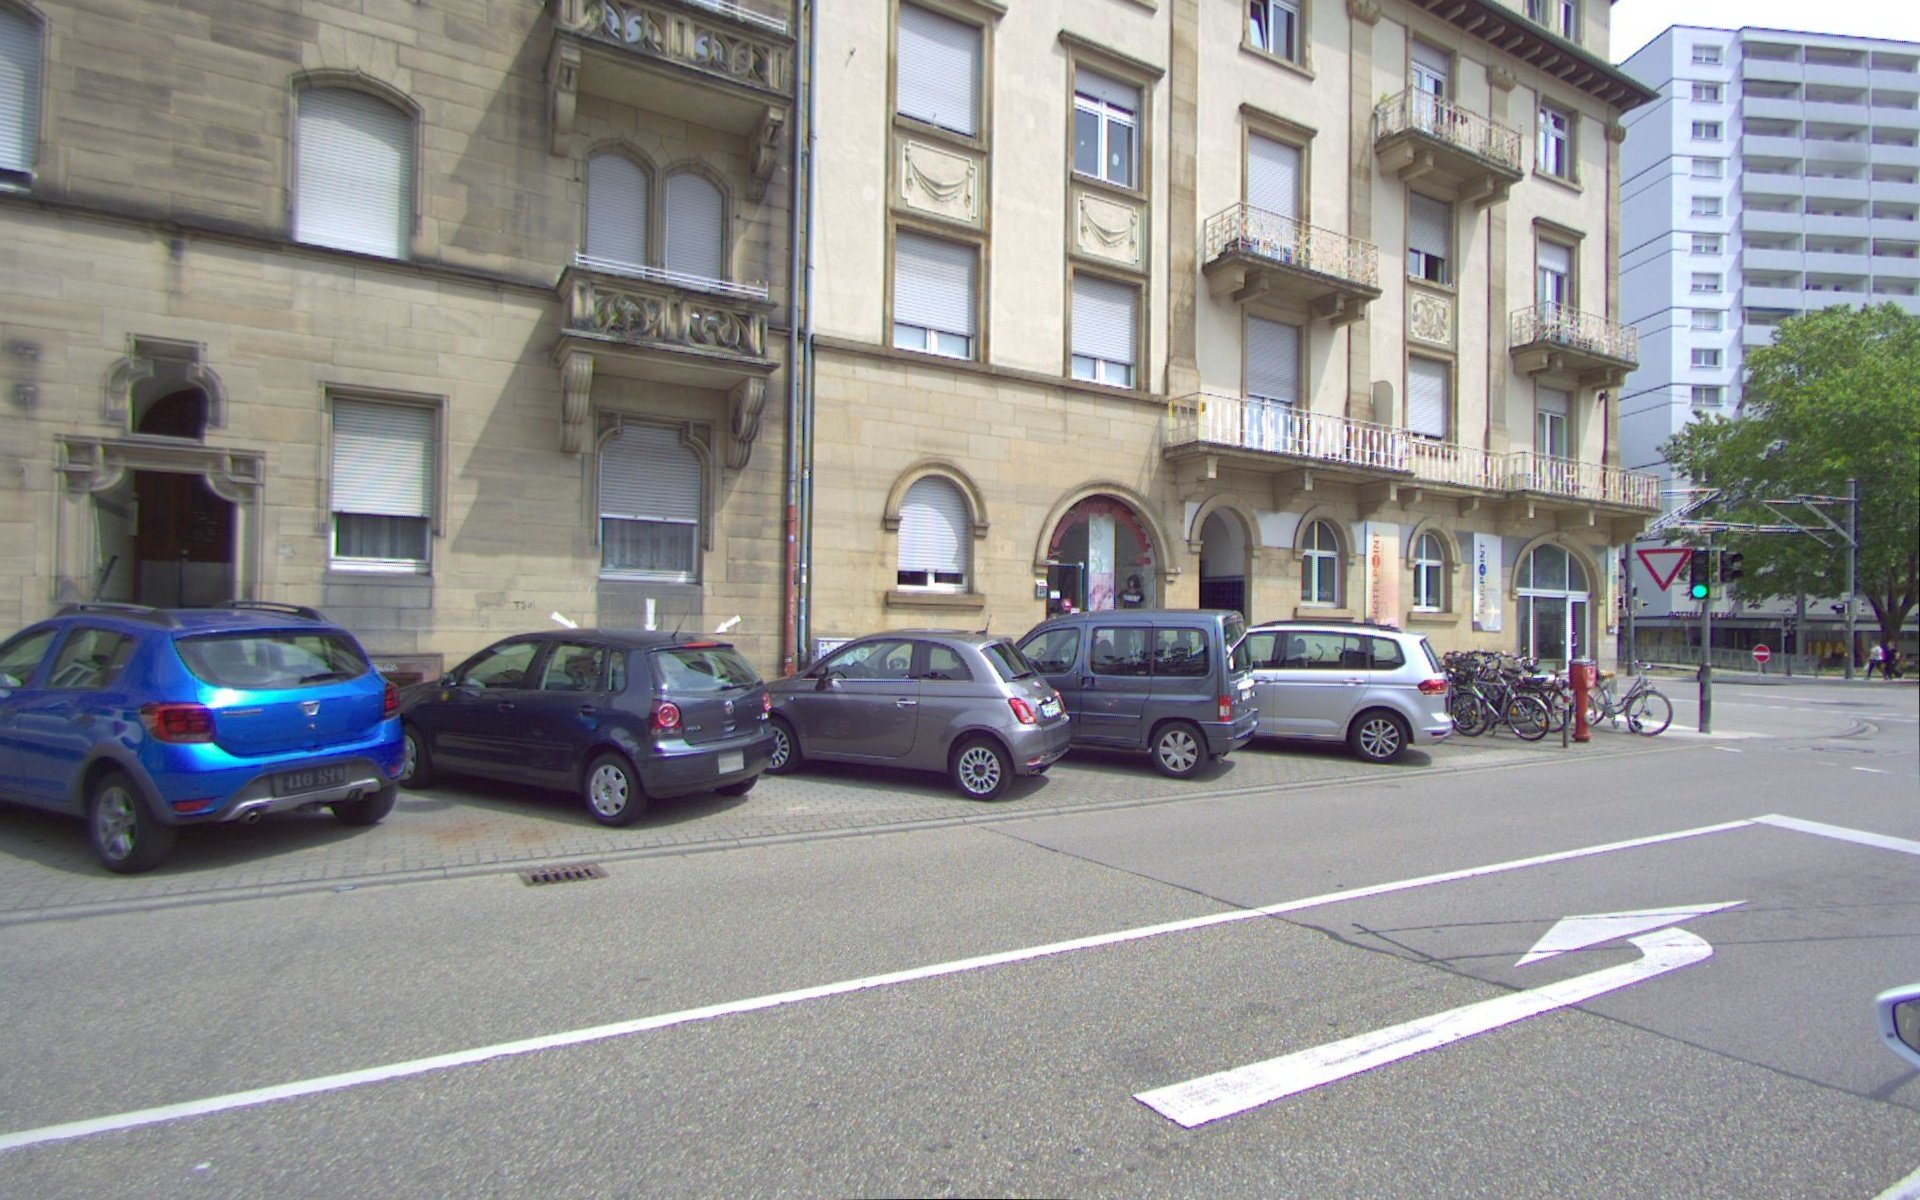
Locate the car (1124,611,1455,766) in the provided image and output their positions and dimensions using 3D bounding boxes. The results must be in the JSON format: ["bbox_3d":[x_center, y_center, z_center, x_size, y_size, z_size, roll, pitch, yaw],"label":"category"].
[{"bbox_3d":[4.325,1.076,13.372,3.934,1.797,1.796,0,-1,22],"label":"car"}]

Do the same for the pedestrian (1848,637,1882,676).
[{"bbox_3d":[37.641,2.326,41.776,0.709,1.593,0.810,1,-1,4],"label":"pedestrian"}]

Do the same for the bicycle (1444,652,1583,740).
[{"bbox_3d":[8.641,1.469,15.751,0.588,1.182,1.796,2,0,-36],"label":"bicycle"}]

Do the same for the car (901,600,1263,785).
[{"bbox_3d":[1.475,0.978,11.930,3.934,1.903,1.796,0,-1,22],"label":"car"}]

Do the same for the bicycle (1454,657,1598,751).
[{"bbox_3d":[8.312,1.495,14.834,0.586,1.135,1.803,1,2,-25],"label":"bicycle"}]

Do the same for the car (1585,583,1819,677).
[{"bbox_3d":[35.019,1.420,48.187,3.389,3.967,9.912,1,-1,-4],"label":"car"}]

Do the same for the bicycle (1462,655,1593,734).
[{"bbox_3d":[9.498,1.557,16.875,0.588,1.135,1.796,2,0,-36],"label":"bicycle"}]

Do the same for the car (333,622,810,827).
[{"bbox_3d":[-3.475,0.957,9.009,3.830,1.462,1.836,0,-1,25],"label":"car"}]

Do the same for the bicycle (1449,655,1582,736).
[{"bbox_3d":[9.004,1.519,16.344,0.588,1.135,1.796,2,0,-36],"label":"bicycle"}]

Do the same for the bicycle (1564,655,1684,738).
[{"bbox_3d":[10.903,1.556,16.580,0.489,1.182,1.878,2,0,-8],"label":"bicycle"}]

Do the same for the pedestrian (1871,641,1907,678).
[{"bbox_3d":[38.961,2.490,42.125,0.709,1.534,0.933,0,-1,11],"label":"pedestrian"}]

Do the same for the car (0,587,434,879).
[{"bbox_3d":[-5.900,0.787,7.338,3.706,1.673,1.723,0,-1,25],"label":"car"}]

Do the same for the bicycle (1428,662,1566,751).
[{"bbox_3d":[7.717,1.497,14.538,0.586,1.135,1.805,1,-2,-23],"label":"bicycle"}]

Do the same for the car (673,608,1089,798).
[{"bbox_3d":[-0.799,0.950,10.470,3.934,1.673,1.796,0,-2,22],"label":"car"}]
